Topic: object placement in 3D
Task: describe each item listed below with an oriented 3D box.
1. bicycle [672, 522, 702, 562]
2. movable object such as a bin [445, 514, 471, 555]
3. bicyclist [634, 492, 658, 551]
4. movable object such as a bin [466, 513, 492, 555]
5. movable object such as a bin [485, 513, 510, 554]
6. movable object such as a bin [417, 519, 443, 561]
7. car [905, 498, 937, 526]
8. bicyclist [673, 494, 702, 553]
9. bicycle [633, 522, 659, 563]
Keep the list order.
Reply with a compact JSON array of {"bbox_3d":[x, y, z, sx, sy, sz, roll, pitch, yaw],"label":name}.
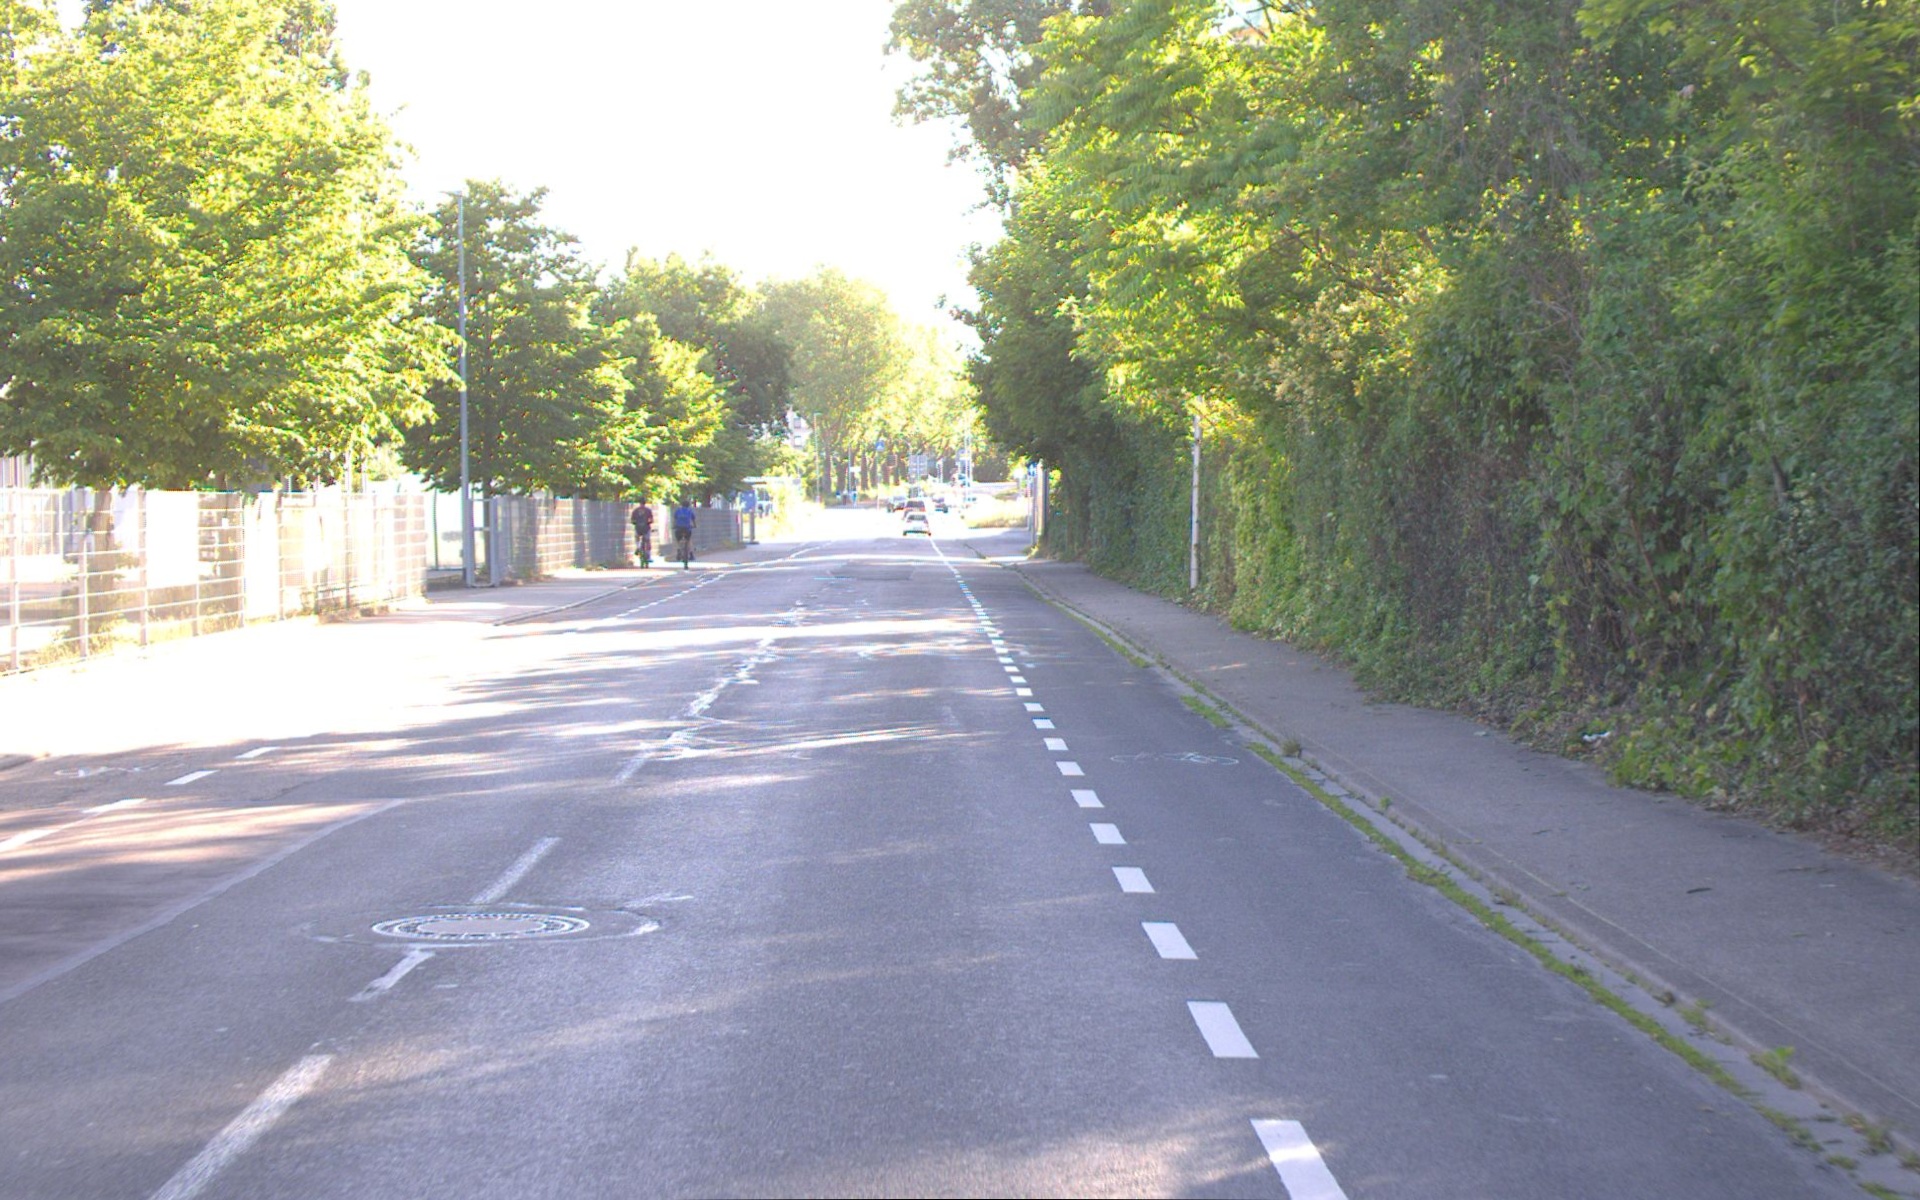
[{"bbox_3d":[-7.175,-1.531,90.324,0.689,1.030,1.351,1,2,-1],"label":"bicycle"},{"bbox_3d":[-13.301,-1.746,91.108,0.463,1.072,1.570,0,2,-1],"label":"movable object such as a bin"},{"bbox_3d":[-8.321,-2.083,91.097,0.560,1.528,0.689,1,2,-1],"label":"bicyclist"},{"bbox_3d":[-12.757,-1.755,91.175,0.463,1.072,1.570,0,2,-1],"label":"movable object such as a bin"},{"bbox_3d":[-12.241,-1.760,90.998,0.463,1.072,1.570,0,2,-1],"label":"movable object such as a bin"},{"bbox_3d":[-14.037,-1.591,91.032,0.463,1.072,1.570,0,2,-1],"label":"movable object such as a bin"},{"bbox_3d":[-2.396,-5.389,211.183,1.942,1.645,4.310,1,2,-1],"label":"car"},{"bbox_3d":[-7.165,-2.006,90.304,0.689,1.526,0.722,1,2,-1],"label":"bicyclist"},{"bbox_3d":[-8.338,-1.529,91.193,0.563,1.030,1.351,1,2,-1],"label":"bicycle"}]
